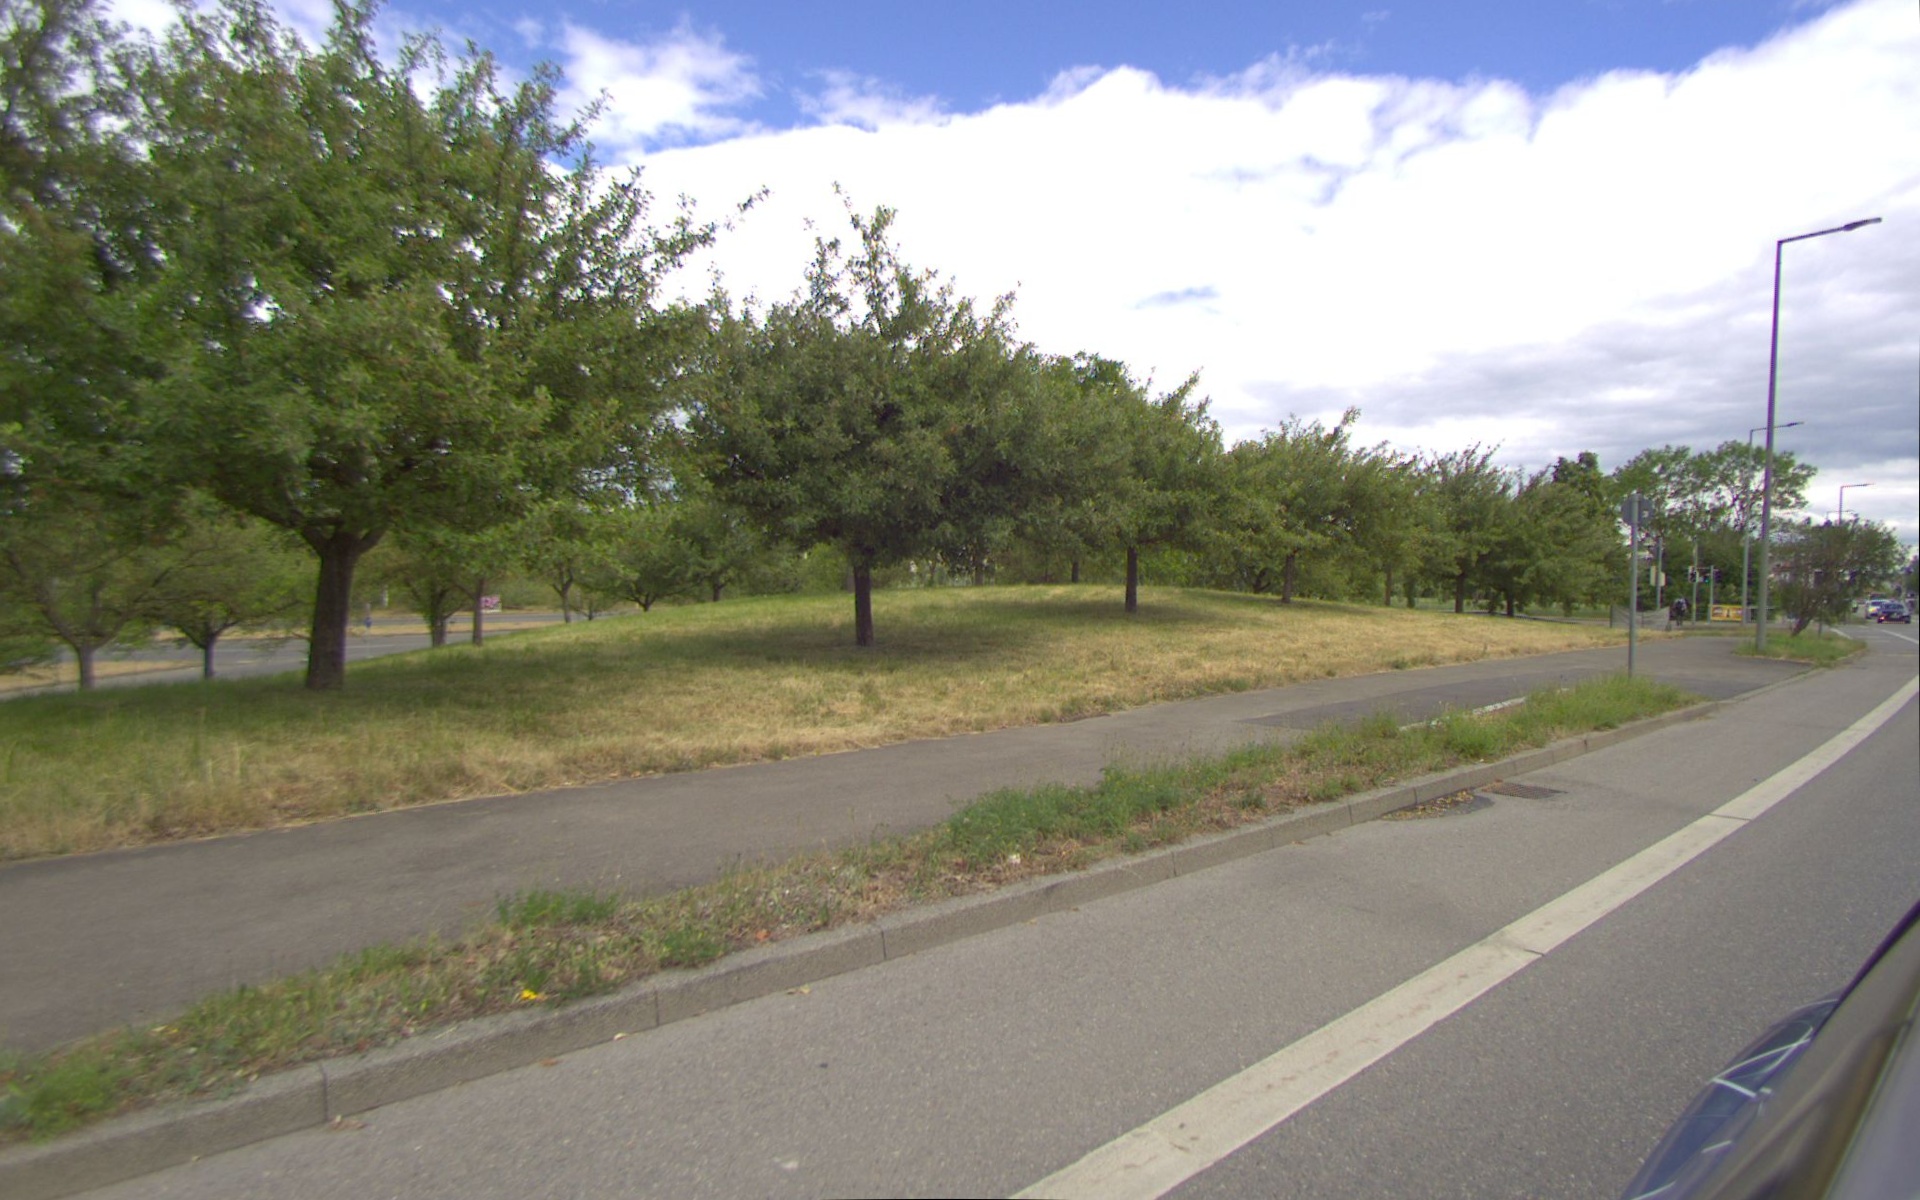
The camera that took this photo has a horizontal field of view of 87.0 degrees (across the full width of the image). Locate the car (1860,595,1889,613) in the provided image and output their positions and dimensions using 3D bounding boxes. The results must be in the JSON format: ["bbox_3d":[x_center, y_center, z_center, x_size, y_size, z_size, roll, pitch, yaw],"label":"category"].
[{"bbox_3d":[75.689,0.307,83.737,1.731,1.459,4.300,0,0,43],"label":"car"}]

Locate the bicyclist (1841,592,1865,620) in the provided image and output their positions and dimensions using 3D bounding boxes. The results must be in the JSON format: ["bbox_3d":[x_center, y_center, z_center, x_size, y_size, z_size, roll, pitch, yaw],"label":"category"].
[{"bbox_3d":[56.398,0.351,63.929,1.012,1.729,1.184,2,1,38],"label":"bicyclist"}]

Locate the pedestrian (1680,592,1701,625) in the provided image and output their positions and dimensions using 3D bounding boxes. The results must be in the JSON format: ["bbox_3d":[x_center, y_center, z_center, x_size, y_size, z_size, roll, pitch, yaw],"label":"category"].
[{"bbox_3d":[42.672,0.491,59.127,0.752,1.907,0.800,0,0,-39],"label":"pedestrian"}]

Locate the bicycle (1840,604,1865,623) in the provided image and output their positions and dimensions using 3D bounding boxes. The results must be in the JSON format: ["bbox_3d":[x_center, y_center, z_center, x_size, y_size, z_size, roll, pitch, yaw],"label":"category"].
[{"bbox_3d":[56.624,0.842,64.227,1.012,1.148,2.639,2,2,38],"label":"bicycle"}]

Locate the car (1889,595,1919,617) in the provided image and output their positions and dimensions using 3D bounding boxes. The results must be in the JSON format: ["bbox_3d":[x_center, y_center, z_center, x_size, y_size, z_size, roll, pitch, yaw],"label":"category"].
[{"bbox_3d":[65.362,0.409,69.887,1.731,1.459,4.300,0,0,43],"label":"car"}]
